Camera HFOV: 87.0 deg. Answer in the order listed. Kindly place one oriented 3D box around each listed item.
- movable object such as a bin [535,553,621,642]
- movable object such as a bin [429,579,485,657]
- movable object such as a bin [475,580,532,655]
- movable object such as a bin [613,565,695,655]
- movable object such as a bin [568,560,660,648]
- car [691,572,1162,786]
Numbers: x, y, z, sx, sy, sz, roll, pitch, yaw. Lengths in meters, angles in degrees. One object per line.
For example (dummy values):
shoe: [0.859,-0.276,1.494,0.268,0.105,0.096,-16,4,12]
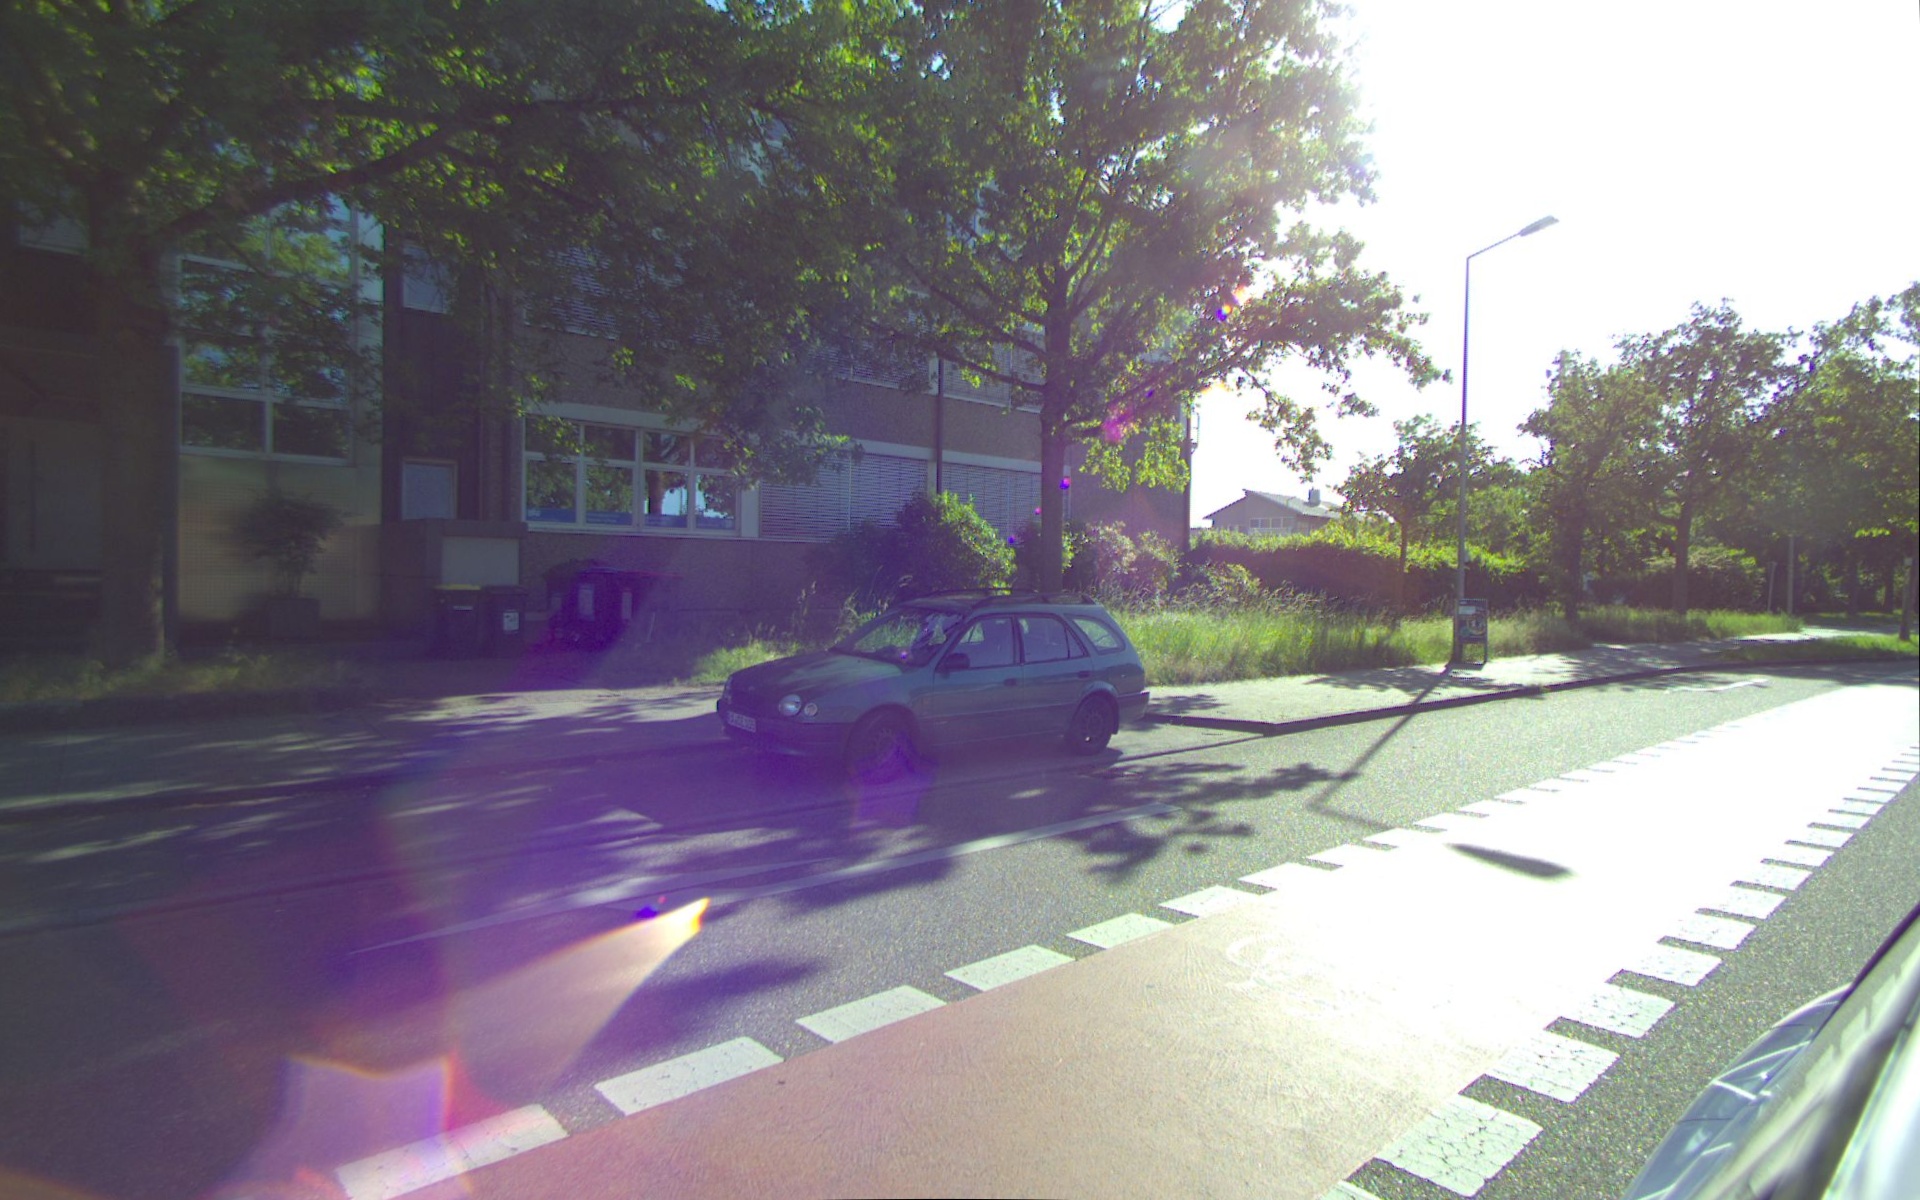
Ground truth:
movable object such as a bin: [-6.779,-0.073,17.941,1.024,1.501,1.309,0,2,-41]
movable object such as a bin: [-7.213,0.246,14.497,0.575,1.070,0.625,0,1,-42]
movable object such as a bin: [-6.757,0.241,14.978,0.604,1.075,0.634,0,1,-42]
movable object such as a bin: [-4.779,0.126,15.773,0.878,1.323,1.186,0,2,-37]
movable object such as a bin: [-5.770,0.043,16.860,1.070,1.388,1.186,0,2,-43]
car: [-0.143,0.574,9.132,4.068,1.487,1.705,1,1,-41]
